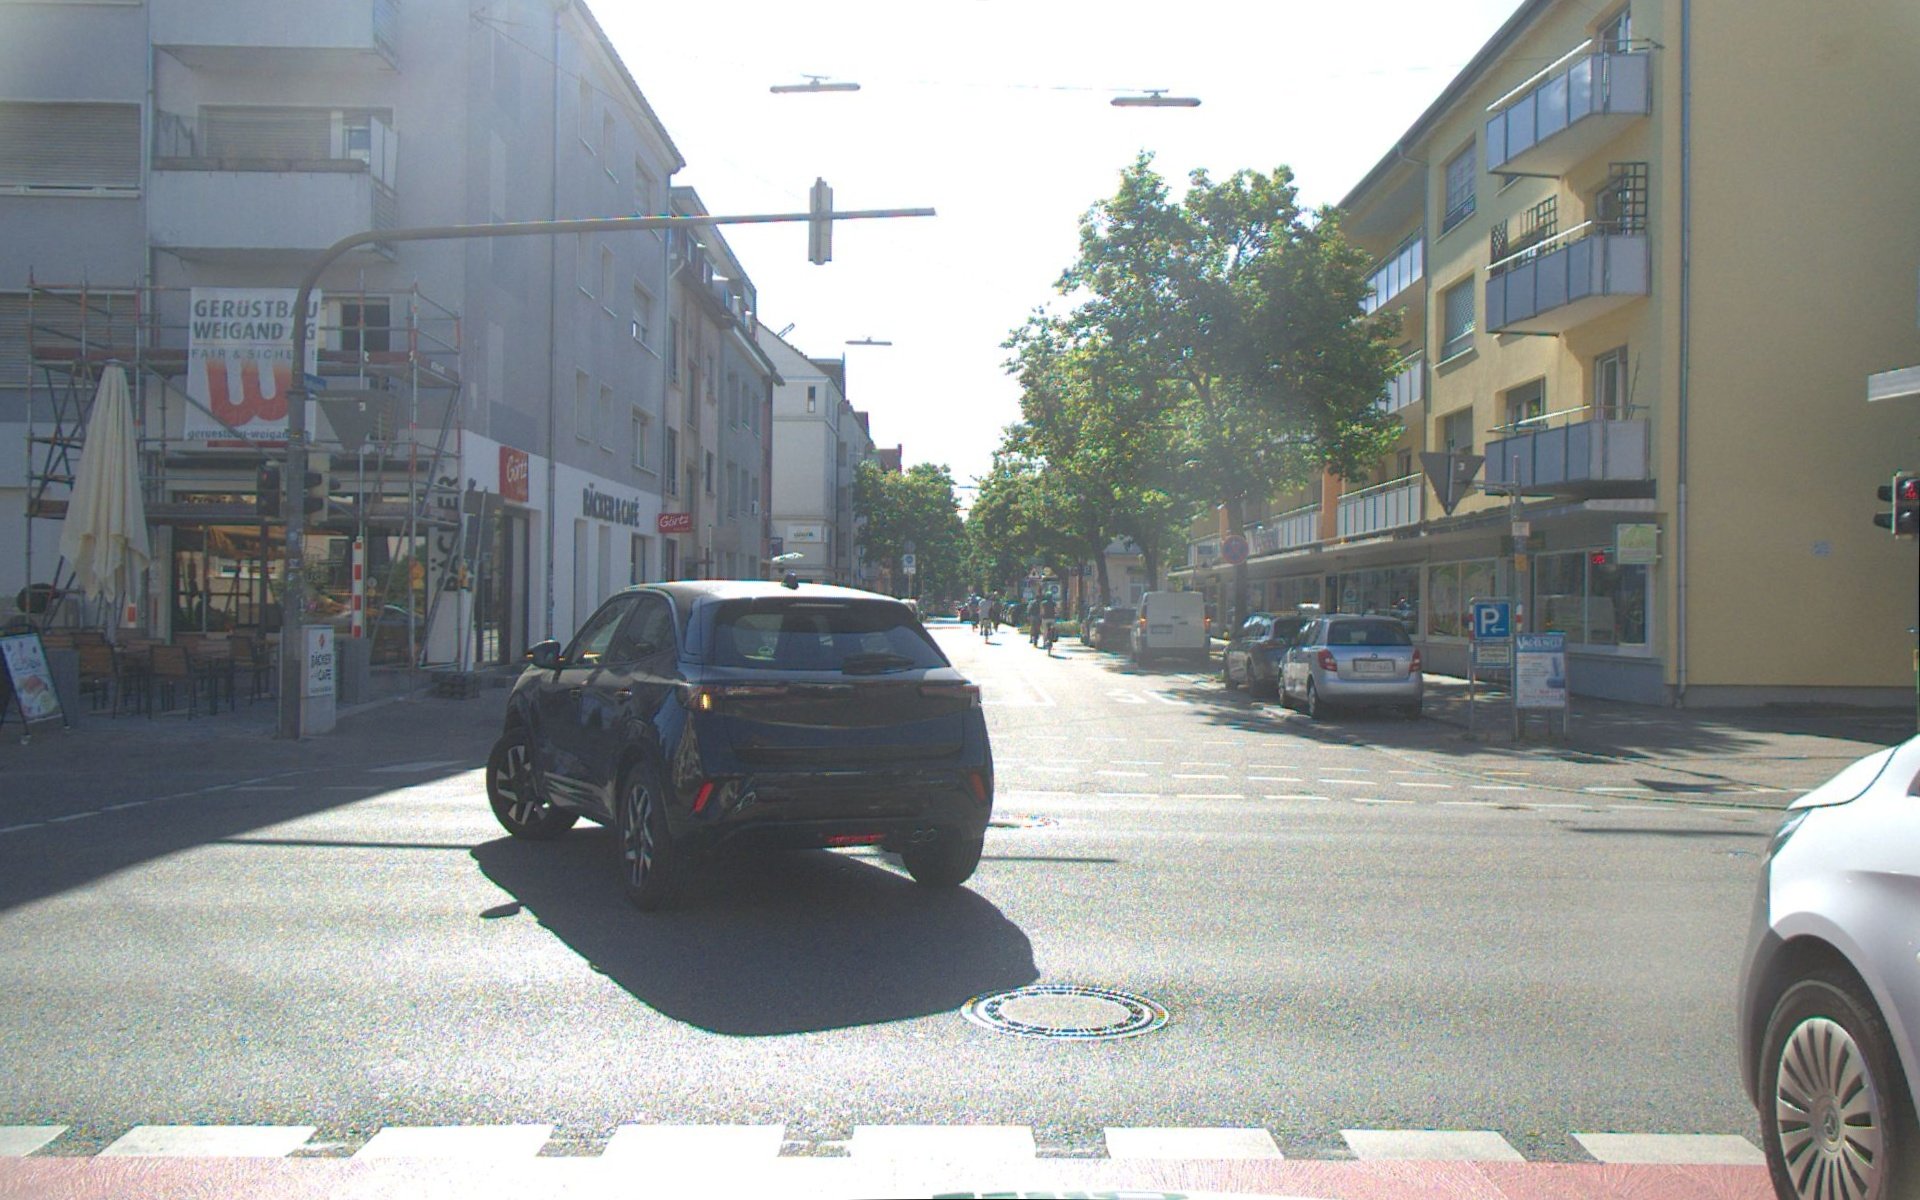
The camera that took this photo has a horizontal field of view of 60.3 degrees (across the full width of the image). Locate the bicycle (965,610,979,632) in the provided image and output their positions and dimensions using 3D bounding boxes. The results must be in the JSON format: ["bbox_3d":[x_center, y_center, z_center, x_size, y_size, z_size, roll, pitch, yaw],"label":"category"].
[{"bbox_3d":[0.574,0.991,78.434,0.619,1.059,1.795,0,0,0],"label":"bicycle"}]

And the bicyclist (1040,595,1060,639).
[{"bbox_3d":[2.657,0.485,48.765,0.535,1.284,0.803,0,0,1],"label":"bicyclist"}]

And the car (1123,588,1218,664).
[{"bbox_3d":[5.494,0.653,43.705,2.004,1.879,4.584,0,0,1],"label":"car"}]

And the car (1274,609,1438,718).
[{"bbox_3d":[5.936,0.910,25.160,1.677,1.509,3.480,0,0,0],"label":"car"}]

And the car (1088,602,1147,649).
[{"bbox_3d":[5.317,0.835,56.094,1.677,1.509,3.381,0,0,0],"label":"car"}]

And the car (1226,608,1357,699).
[{"bbox_3d":[5.892,0.910,29.724,1.677,1.509,3.381,0,0,0],"label":"car"}]

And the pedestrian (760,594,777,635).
[{"bbox_3d":[-7.041,0.519,60.796,0.566,1.493,0.702,1,0,-6],"label":"pedestrian"}]

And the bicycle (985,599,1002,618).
[{"bbox_3d":[1.776,0.458,87.939,0.839,0.961,2.307,3,0,0],"label":"bicycle"}]

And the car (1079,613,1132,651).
[{"bbox_3d":[5.419,1.193,61.858,1.677,1.337,3.381,0,0,0],"label":"car"}]

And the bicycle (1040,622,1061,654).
[{"bbox_3d":[2.651,1.110,48.718,0.535,0.881,1.876,0,0,1],"label":"bicycle"}]

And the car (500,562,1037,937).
[{"bbox_3d":[-1.287,0.647,9.191,1.741,1.586,3.966,1,-1,-26],"label":"car"}]

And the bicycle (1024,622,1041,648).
[{"bbox_3d":[2.510,1.203,57.257,0.535,0.881,1.876,0,0,1],"label":"bicycle"}]

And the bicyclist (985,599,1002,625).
[{"bbox_3d":[1.773,0.641,87.918,0.839,1.337,1.210,3,0,-1],"label":"bicyclist"}]

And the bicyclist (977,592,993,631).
[{"bbox_3d":[0.912,0.412,60.340,0.576,1.406,0.823,0,0,1],"label":"bicyclist"}]

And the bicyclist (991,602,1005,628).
[{"bbox_3d":[1.800,0.700,78.674,0.677,1.214,0.595,0,0,1],"label":"bicyclist"}]

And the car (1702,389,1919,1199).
[{"bbox_3d":[2.906,0.500,1.809,1.928,1.842,4.831,1,0,-2],"label":"car"}]

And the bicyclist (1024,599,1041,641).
[{"bbox_3d":[2.506,0.688,57.112,0.535,1.406,0.823,0,0,1],"label":"bicyclist"}]

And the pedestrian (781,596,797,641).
[{"bbox_3d":[-6.246,0.679,60.533,0.566,1.610,0.707,1,0,-6],"label":"pedestrian"}]

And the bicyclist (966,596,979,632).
[{"bbox_3d":[0.579,0.664,78.097,0.619,1.698,1.050,0,0,-1],"label":"bicyclist"}]

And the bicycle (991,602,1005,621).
[{"bbox_3d":[1.803,0.563,78.674,0.677,0.881,1.876,0,0,1],"label":"bicycle"}]

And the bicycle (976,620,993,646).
[{"bbox_3d":[0.905,1.201,60.301,0.607,0.881,1.876,0,0,1],"label":"bicycle"}]
